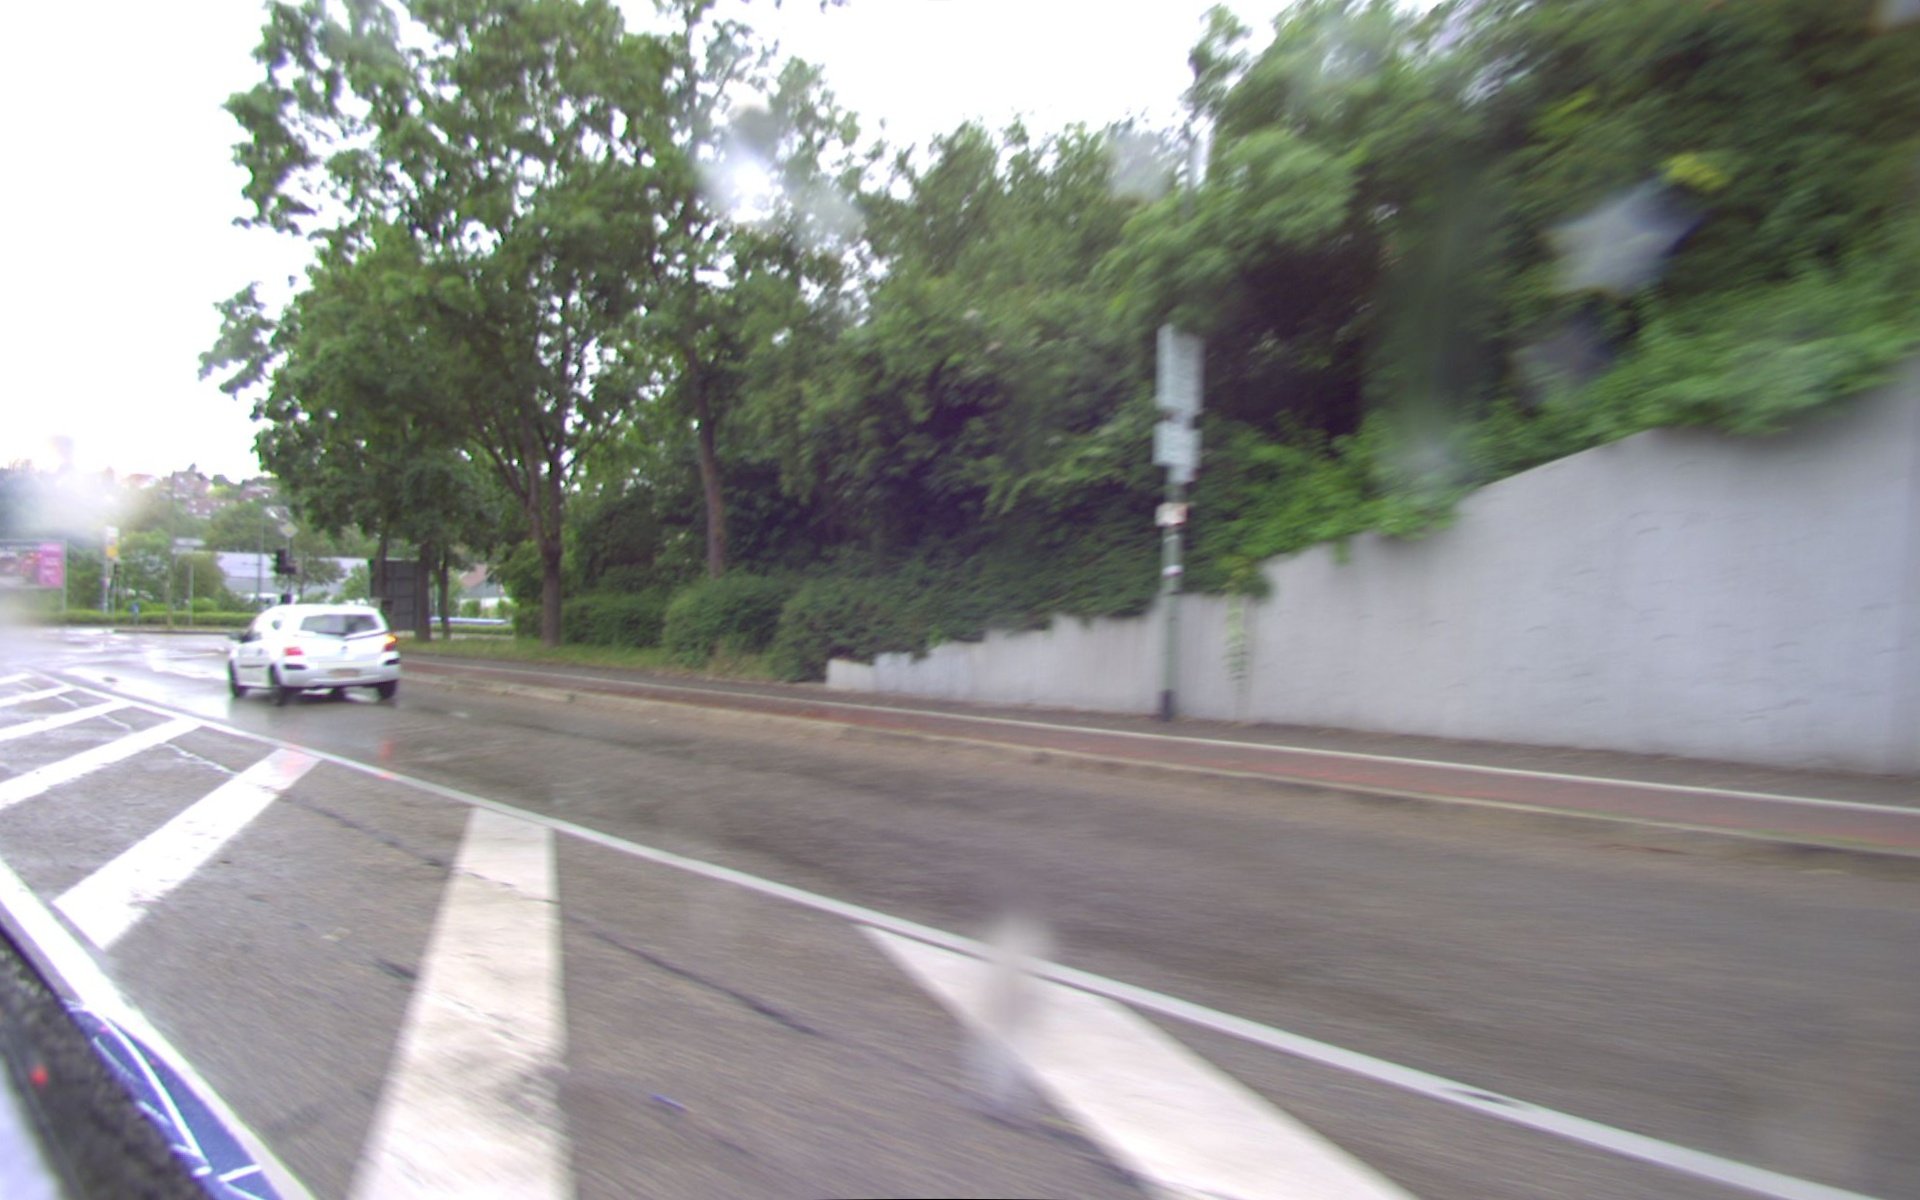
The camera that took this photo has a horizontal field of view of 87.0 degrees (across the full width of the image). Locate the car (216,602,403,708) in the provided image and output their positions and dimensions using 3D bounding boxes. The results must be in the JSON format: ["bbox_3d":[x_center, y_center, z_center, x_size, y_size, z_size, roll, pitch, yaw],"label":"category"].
[{"bbox_3d":[-10.227,0.784,15.816,3.815,1.459,1.496,-1,-1,42],"label":"car"}]
